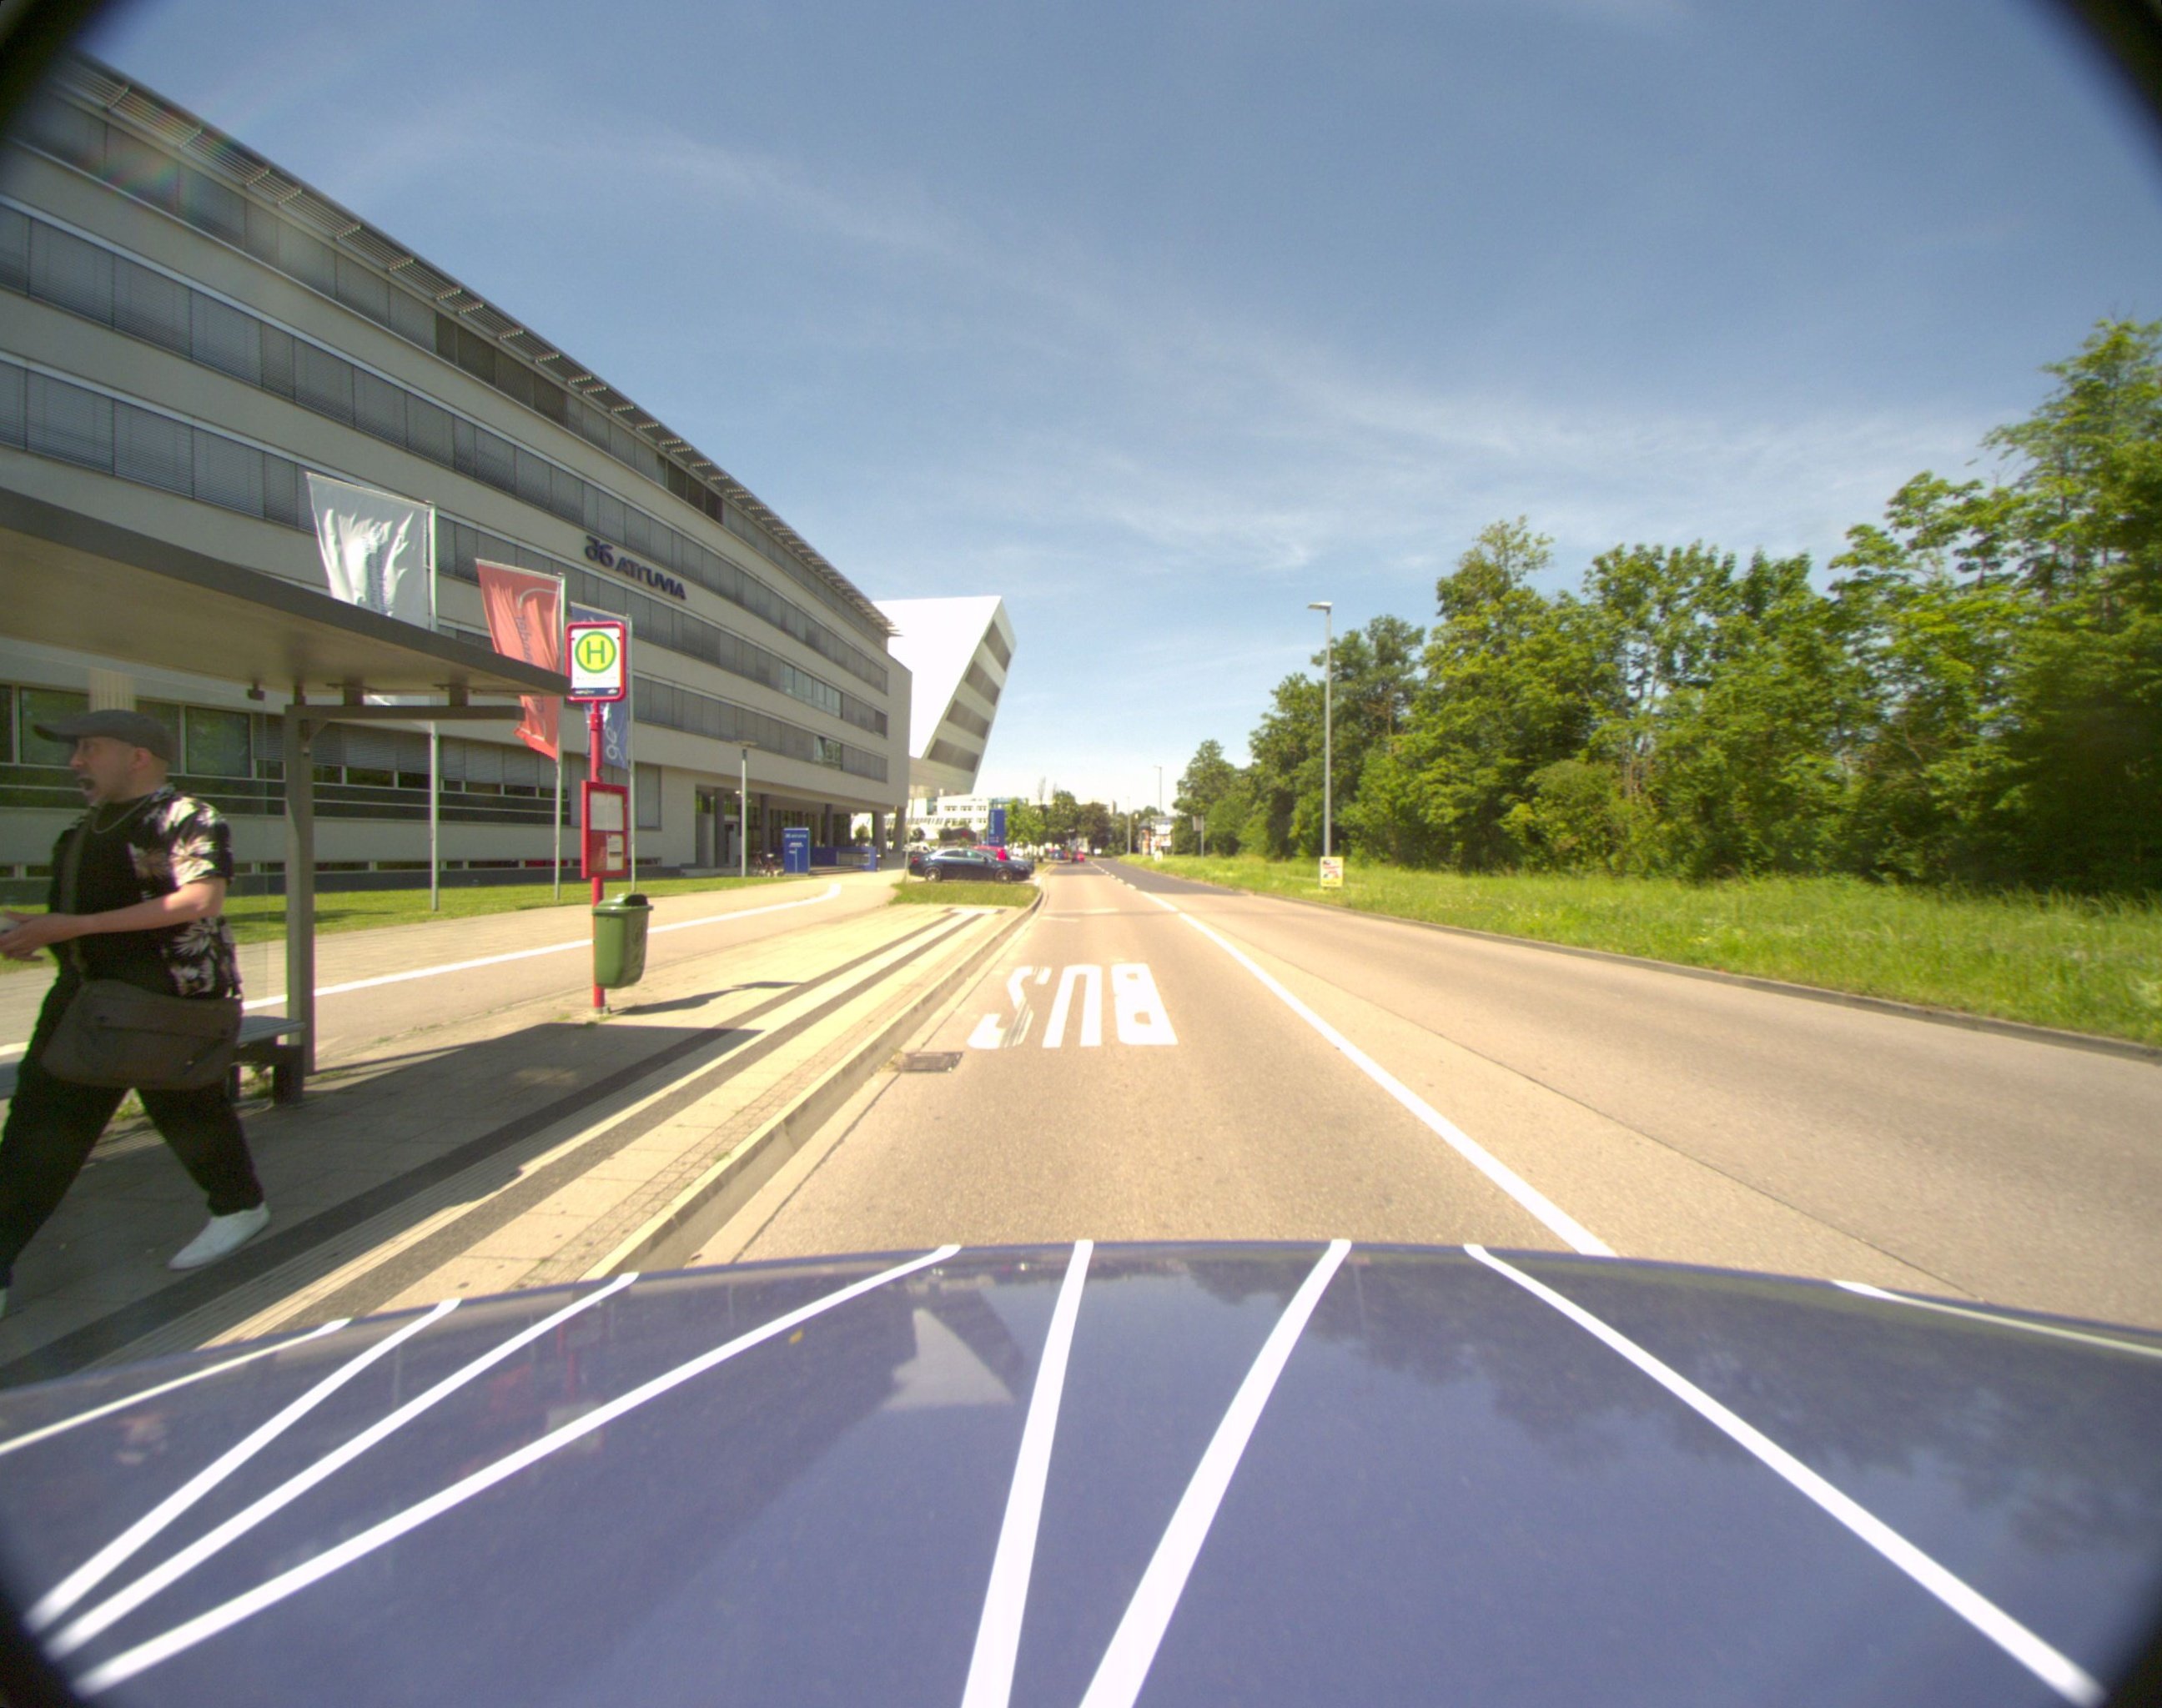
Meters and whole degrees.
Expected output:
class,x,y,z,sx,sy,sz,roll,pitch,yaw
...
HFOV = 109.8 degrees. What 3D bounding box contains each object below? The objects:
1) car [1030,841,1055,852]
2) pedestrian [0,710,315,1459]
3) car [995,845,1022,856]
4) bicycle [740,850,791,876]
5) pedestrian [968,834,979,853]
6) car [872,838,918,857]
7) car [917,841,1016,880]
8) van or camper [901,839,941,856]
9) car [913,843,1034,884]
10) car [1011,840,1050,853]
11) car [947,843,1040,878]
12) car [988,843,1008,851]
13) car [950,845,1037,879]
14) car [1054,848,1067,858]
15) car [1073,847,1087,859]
class,x,y,z,sx,sy,sz,roll,pitch,yaw
car,-6.905,-1.368,137.171,4.204,1.964,1.704,-1,1,6
pedestrian,-2.948,0.546,2.148,0.710,1.812,0.826,2,1,0
car,-10.955,-0.509,114.460,3.822,1.664,1.741,-1,1,2
bicycle,-13.268,0.390,31.968,1.881,1.054,0.534,-1,1,4
pedestrian,-9.550,-0.962,67.453,0.844,1.650,0.775,-1,1,-2
car,-24.754,-0.840,101.391,5.581,2.446,2.000,-1,1,6
car,-4.950,0.256,33.231,3.996,1.645,1.839,0,1,2
van or camper,-24.025,-0.943,114.199,5.699,2.376,1.704,-1,1,6
car,-4.233,0.372,30.410,4.579,1.424,1.827,2,1,-2
car,-8.740,-1.234,131.417,6.492,2.137,2.165,-1,1,6
car,-4.291,0.299,37.734,4.331,1.555,1.786,1,1,0
car,-18.790,-1.609,172.001,4.321,1.648,1.704,-1,1,6
car,-4.024,0.336,35.316,3.816,1.477,1.655,1,1,2
car,-3.069,-0.153,112.603,1.802,1.490,3.999,-1,1,-1
car,-0.138,-0.165,95.722,1.662,1.495,3.356,-1,1,2
